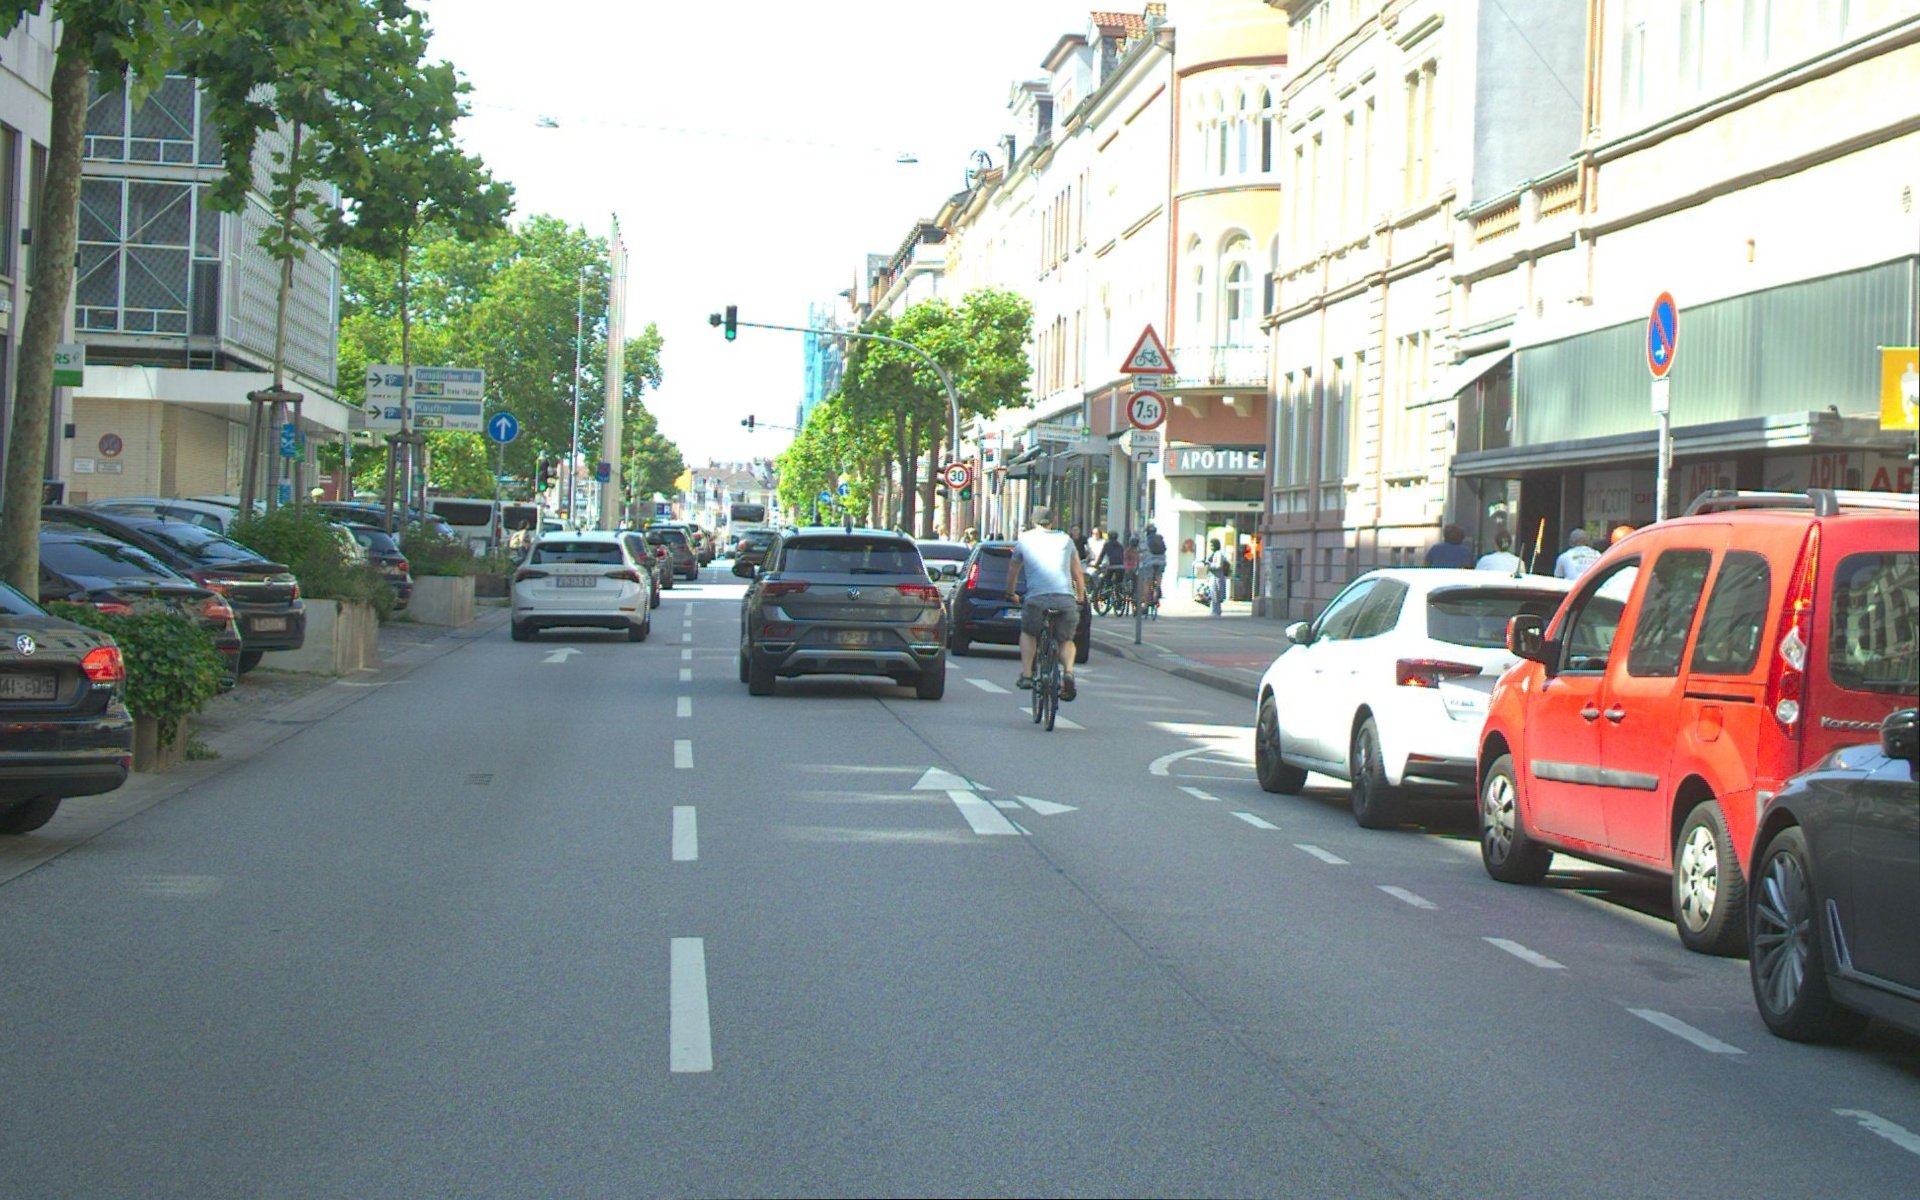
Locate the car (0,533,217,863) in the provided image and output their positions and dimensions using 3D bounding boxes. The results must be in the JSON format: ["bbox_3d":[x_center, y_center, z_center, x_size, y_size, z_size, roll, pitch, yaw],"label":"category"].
[{"bbox_3d":[-6.038,0.309,16.912,4.792,1.417,1.879,5,2,36],"label":"car"}]

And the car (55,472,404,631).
[{"bbox_3d":[-9.454,-0.622,44.514,3.992,1.563,1.698,7,1,21],"label":"car"}]

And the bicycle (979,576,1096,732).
[{"bbox_3d":[0.612,0.413,27.900,0.664,1.116,2.244,4,2,-4],"label":"bicycle"}]

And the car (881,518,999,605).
[{"bbox_3d":[-0.390,-0.695,60.419,1.822,1.380,4.001,2,2,-3],"label":"car"}]

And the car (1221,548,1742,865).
[{"bbox_3d":[2.936,0.534,20.444,1.812,1.461,4.582,4,2,-7],"label":"car"}]

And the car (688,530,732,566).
[{"bbox_3d":[-11.490,-2.383,157.616,1.863,1.436,4.000,-3,0,-5],"label":"car"}]

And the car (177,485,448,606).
[{"bbox_3d":[-10.280,-0.872,54.803,3.986,1.495,1.718,6,1,-6],"label":"car"}]

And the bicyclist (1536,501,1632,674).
[{"bbox_3d":[5.885,-0.126,32.471,0.658,1.589,0.920,2,1,-2],"label":"bicyclist"}]

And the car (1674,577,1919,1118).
[{"bbox_3d":[3.633,0.763,9.469,1.859,1.465,5.226,4,1,-4],"label":"car"}]

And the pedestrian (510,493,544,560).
[{"bbox_3d":[-10.686,-1.812,84.857,0.612,1.610,0.550,2,-1,-34],"label":"pedestrian"}]

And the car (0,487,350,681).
[{"bbox_3d":[-8.004,-0.203,31.713,4.347,1.508,1.830,5,1,26],"label":"car"}]

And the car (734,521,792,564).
[{"bbox_3d":[-6.883,-2.021,120.038,1.862,1.436,4.001,2,1,-5],"label":"car"}]

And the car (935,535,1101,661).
[{"bbox_3d":[0.718,-0.059,44.806,1.822,1.404,3.187,4,2,-3],"label":"car"}]

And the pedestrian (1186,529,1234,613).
[{"bbox_3d":[5.185,-0.603,71.304,0.791,1.714,0.730,1,1,-9],"label":"pedestrian"}]

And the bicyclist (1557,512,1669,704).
[{"bbox_3d":[5.127,0.052,27.034,0.625,1.471,0.889,2,1,-3],"label":"bicyclist"}]

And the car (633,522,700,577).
[{"bbox_3d":[-8.061,-1.410,94.496,1.743,1.436,4.001,2,1,-5],"label":"car"}]

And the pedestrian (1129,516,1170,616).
[{"bbox_3d":[3.495,-0.629,63.508,0.652,1.803,0.729,2,1,-1],"label":"pedestrian"}]

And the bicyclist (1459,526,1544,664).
[{"bbox_3d":[4.974,-0.051,31.596,0.623,1.244,0.608,2,1,-2],"label":"bicyclist"}]

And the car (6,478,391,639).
[{"bbox_3d":[-9.064,-0.489,41.005,3.990,1.485,1.782,6,1,13],"label":"car"}]

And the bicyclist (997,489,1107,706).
[{"bbox_3d":[0.735,-0.034,27.747,0.694,1.667,0.916,4,2,-3],"label":"bicyclist"}]

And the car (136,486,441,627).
[{"bbox_3d":[-9.355,-0.612,47.800,3.995,1.454,1.667,8,1,33],"label":"car"}]

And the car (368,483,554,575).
[{"bbox_3d":[-13.299,-1.899,91.551,4.719,1.996,1.937,6,0,36],"label":"car"}]

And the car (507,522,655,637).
[{"bbox_3d":[-5.058,-0.309,46.098,1.862,1.436,4.001,1,1,-6],"label":"car"}]

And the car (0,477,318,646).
[{"bbox_3d":[-9.253,-0.467,38.120,3.986,1.495,1.718,6,1,-8],"label":"car"}]

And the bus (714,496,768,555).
[{"bbox_3d":[-13.890,-4.723,217.459,2.769,3.592,8.976,2,1,-7],"label":"bus"}]

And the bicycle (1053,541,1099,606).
[{"bbox_3d":[2.146,-0.509,63.867,0.555,1.116,2.244,4,2,-4],"label":"bicycle"}]

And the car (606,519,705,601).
[{"bbox_3d":[-5.672,-0.768,64.061,1.743,1.436,4.001,2,1,-5],"label":"car"}]

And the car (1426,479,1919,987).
[{"bbox_3d":[3.572,0.467,15.013,1.827,1.857,4.355,4,1,-8],"label":"car"}]

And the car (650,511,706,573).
[{"bbox_3d":[-9.979,-2.020,121.436,1.862,2.023,4.001,2,0,-5],"label":"car"}]

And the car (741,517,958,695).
[{"bbox_3d":[-1.099,0.016,32.258,1.833,1.522,4.001,1,1,-4],"label":"car"}]

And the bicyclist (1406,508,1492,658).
[{"bbox_3d":[5.302,-0.196,37.328,0.709,1.589,0.963,2,1,-2],"label":"bicyclist"}]

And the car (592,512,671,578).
[{"bbox_3d":[-7.569,-1.296,79.443,1.743,1.436,4.001,2,1,-5],"label":"car"}]

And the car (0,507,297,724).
[{"bbox_3d":[-7.403,0.026,26.493,4.647,1.403,1.902,5,2,39],"label":"car"}]

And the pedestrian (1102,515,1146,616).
[{"bbox_3d":[3.136,-0.673,65.748,0.709,1.893,1.152,2,1,-1],"label":"pedestrian"}]

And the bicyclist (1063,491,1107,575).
[{"bbox_3d":[2.607,-1.401,71.837,0.694,1.667,0.836,5,3,-4],"label":"bicyclist"}]
